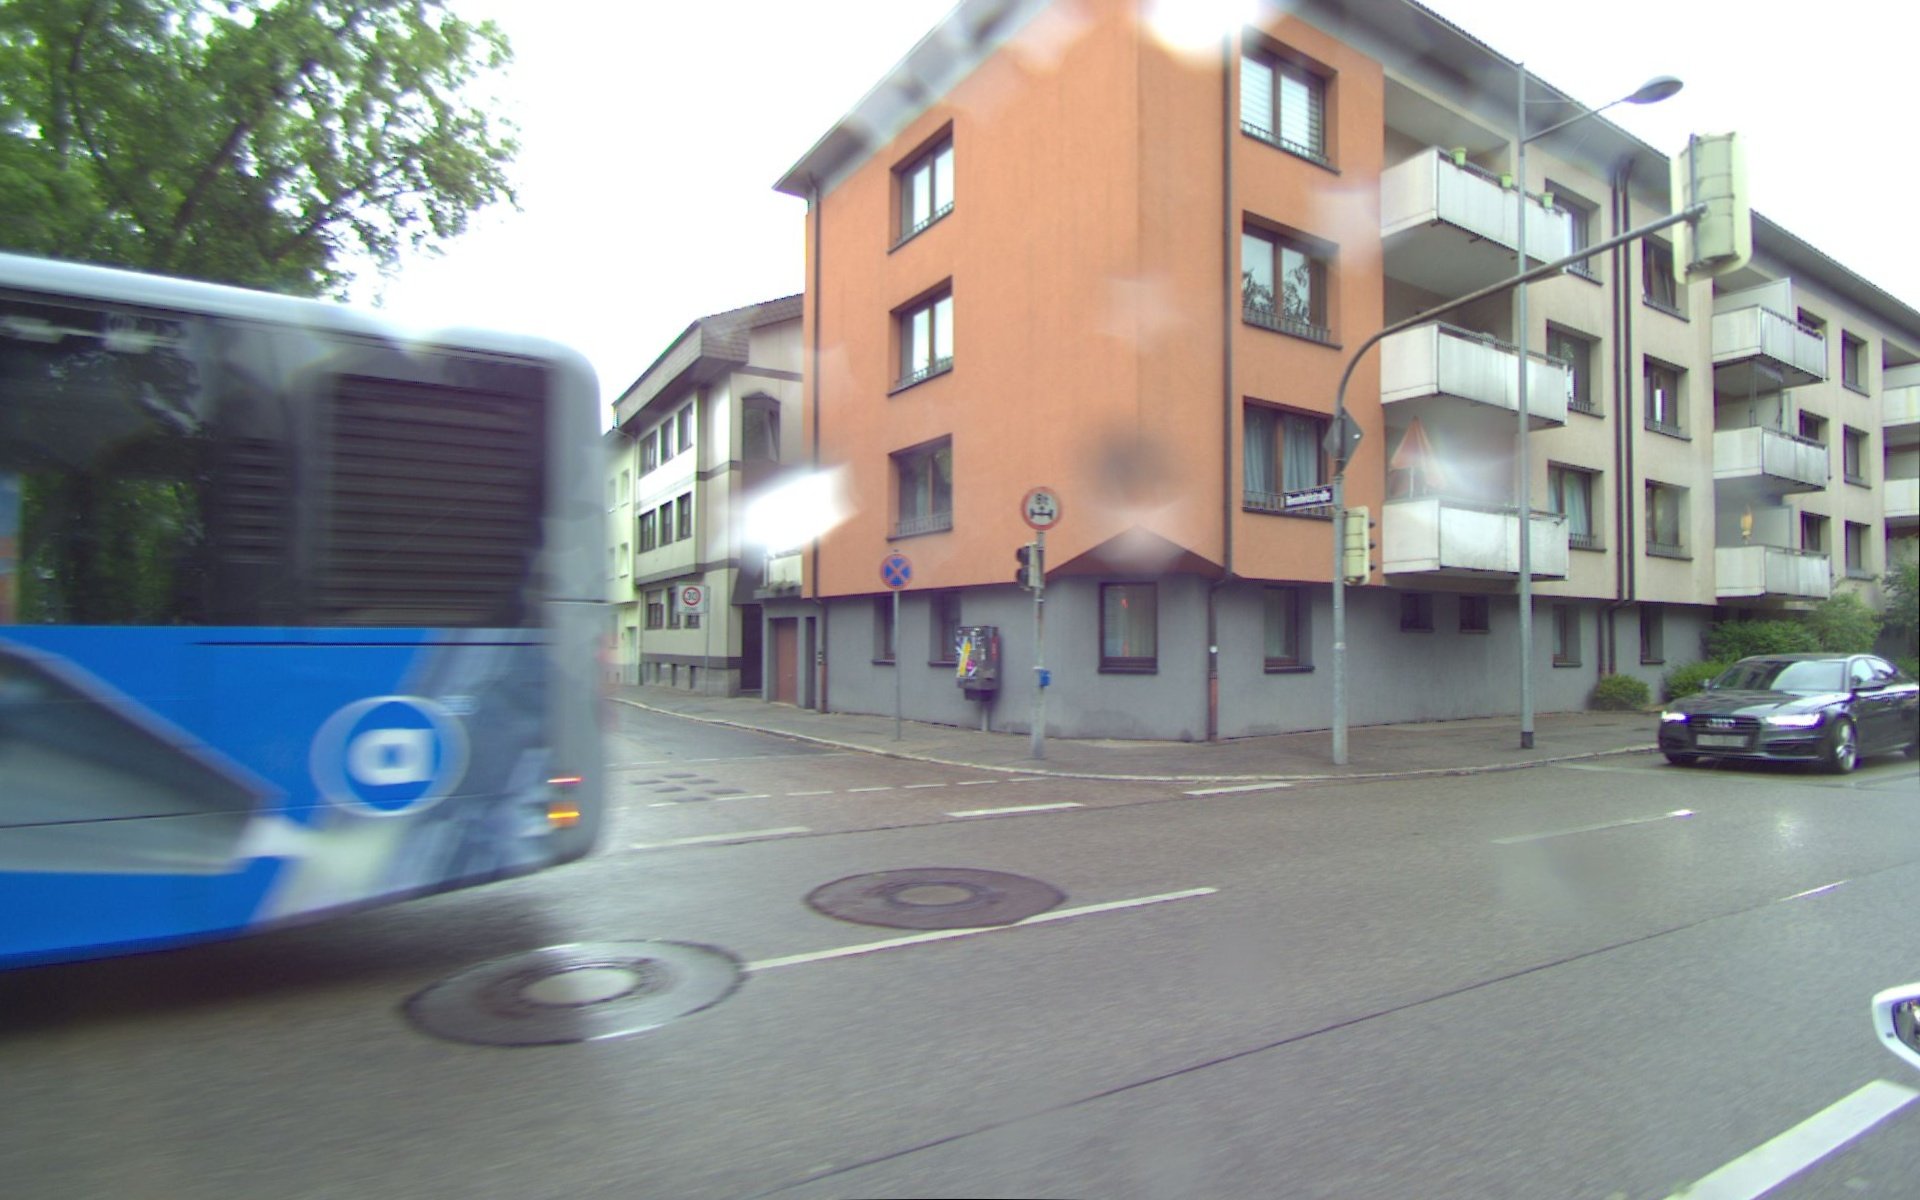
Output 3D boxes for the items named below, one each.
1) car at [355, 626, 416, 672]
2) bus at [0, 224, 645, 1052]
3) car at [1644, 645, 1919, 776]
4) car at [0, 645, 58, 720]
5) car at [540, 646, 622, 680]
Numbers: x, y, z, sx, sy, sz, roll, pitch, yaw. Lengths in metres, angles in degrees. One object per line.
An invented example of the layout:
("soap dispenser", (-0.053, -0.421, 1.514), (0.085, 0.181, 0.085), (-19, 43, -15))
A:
("car", (-21.979, 1.914, 38.535), (1.898, 1.649, 3.900), (2, -4, -28))
("bus", (-7.220, 0.063, 3.029), (11.645, 3.013, 2.753), (2, -3, -31))
("car", (11.087, 1.362, 13.321), (4.170, 1.488, 1.766), (2, -4, -32))
("car", (-21.505, 1.764, 22.123), (1.799, 1.535, 3.964), (2, -3, -33))
("car", (-20.758, 3.460, 55.014), (3.954, 1.706, 1.813), (2, -1, -31))
